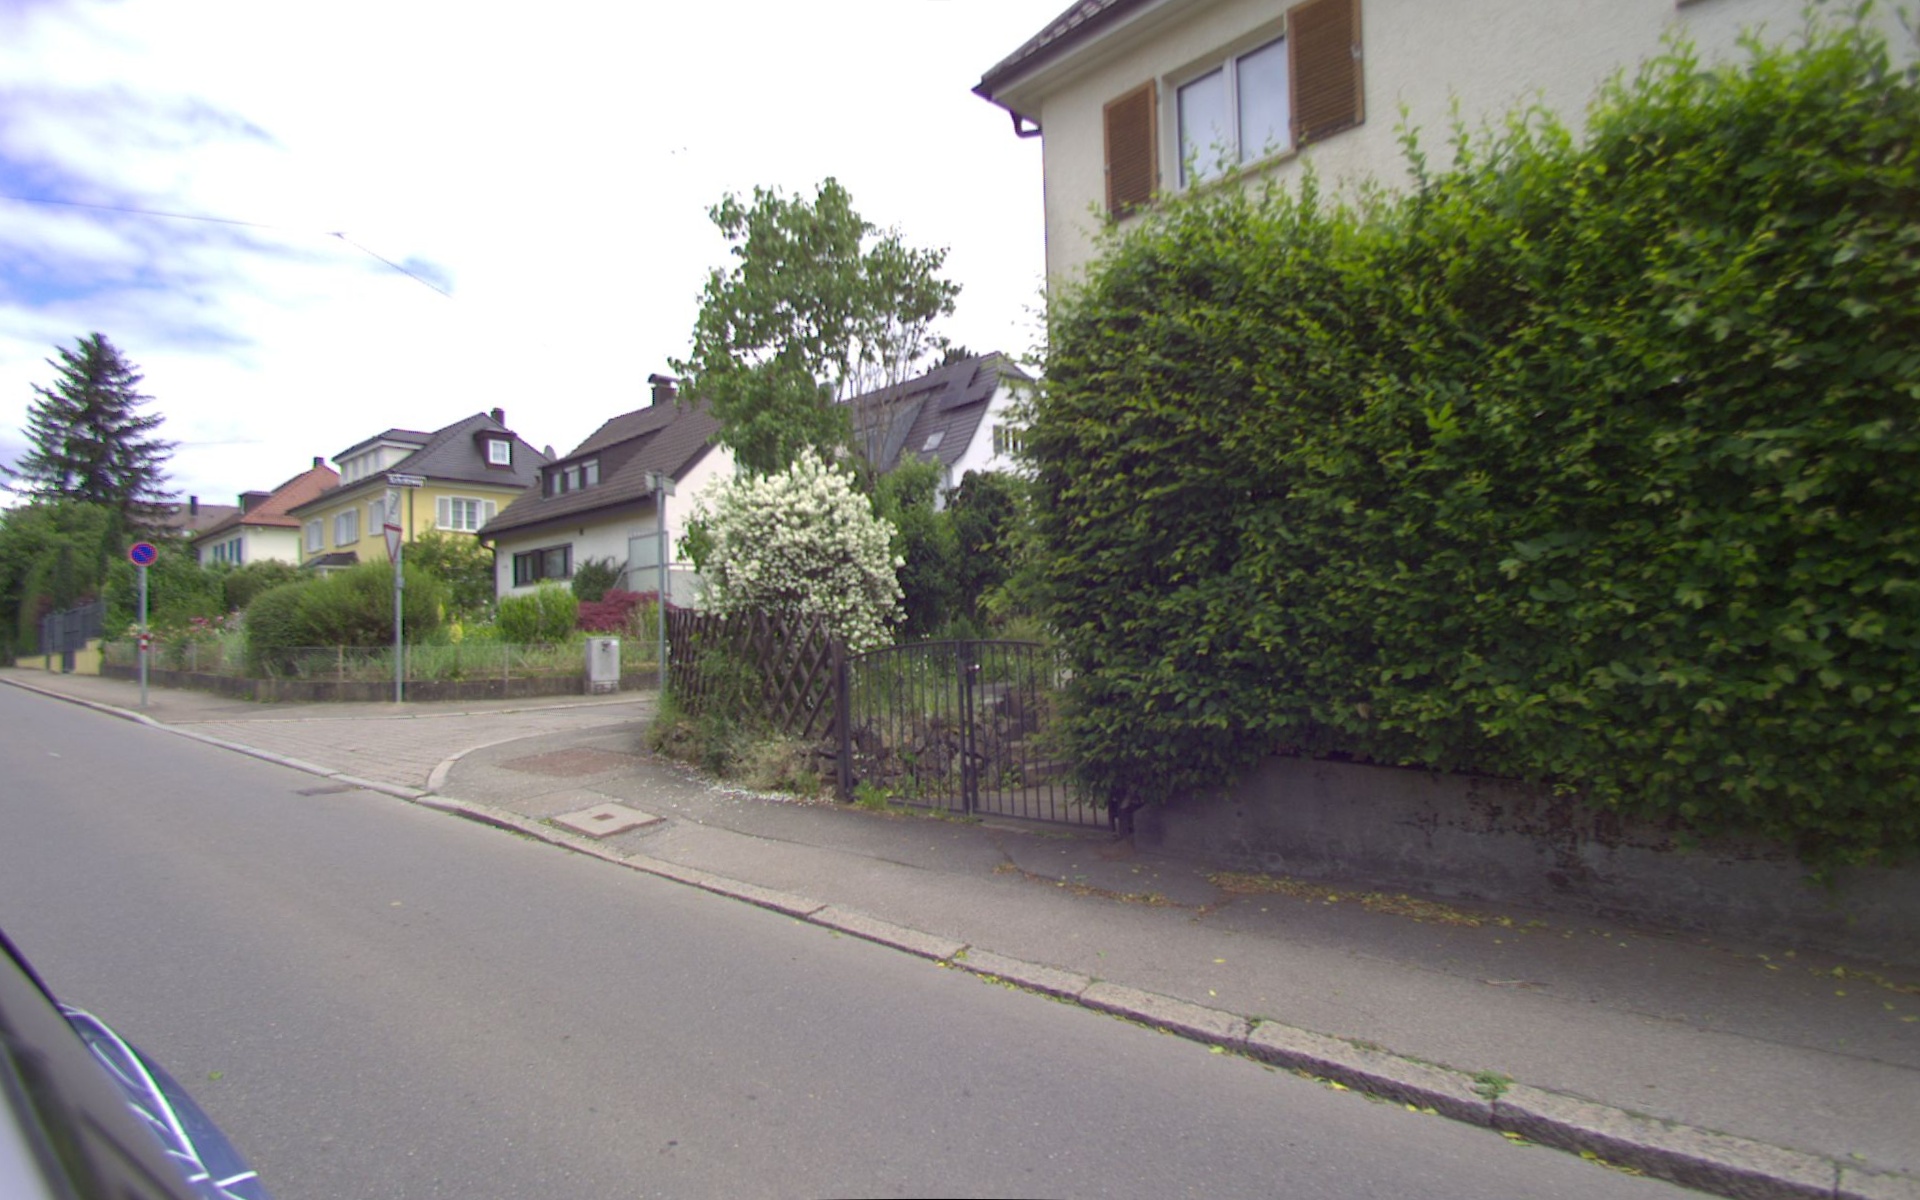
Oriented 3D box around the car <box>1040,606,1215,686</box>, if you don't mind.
[{"bbox_3d":[3.755,0.948,22.344,3.941,1.557,1.809,-1,-1,-44],"label":"car"}]
